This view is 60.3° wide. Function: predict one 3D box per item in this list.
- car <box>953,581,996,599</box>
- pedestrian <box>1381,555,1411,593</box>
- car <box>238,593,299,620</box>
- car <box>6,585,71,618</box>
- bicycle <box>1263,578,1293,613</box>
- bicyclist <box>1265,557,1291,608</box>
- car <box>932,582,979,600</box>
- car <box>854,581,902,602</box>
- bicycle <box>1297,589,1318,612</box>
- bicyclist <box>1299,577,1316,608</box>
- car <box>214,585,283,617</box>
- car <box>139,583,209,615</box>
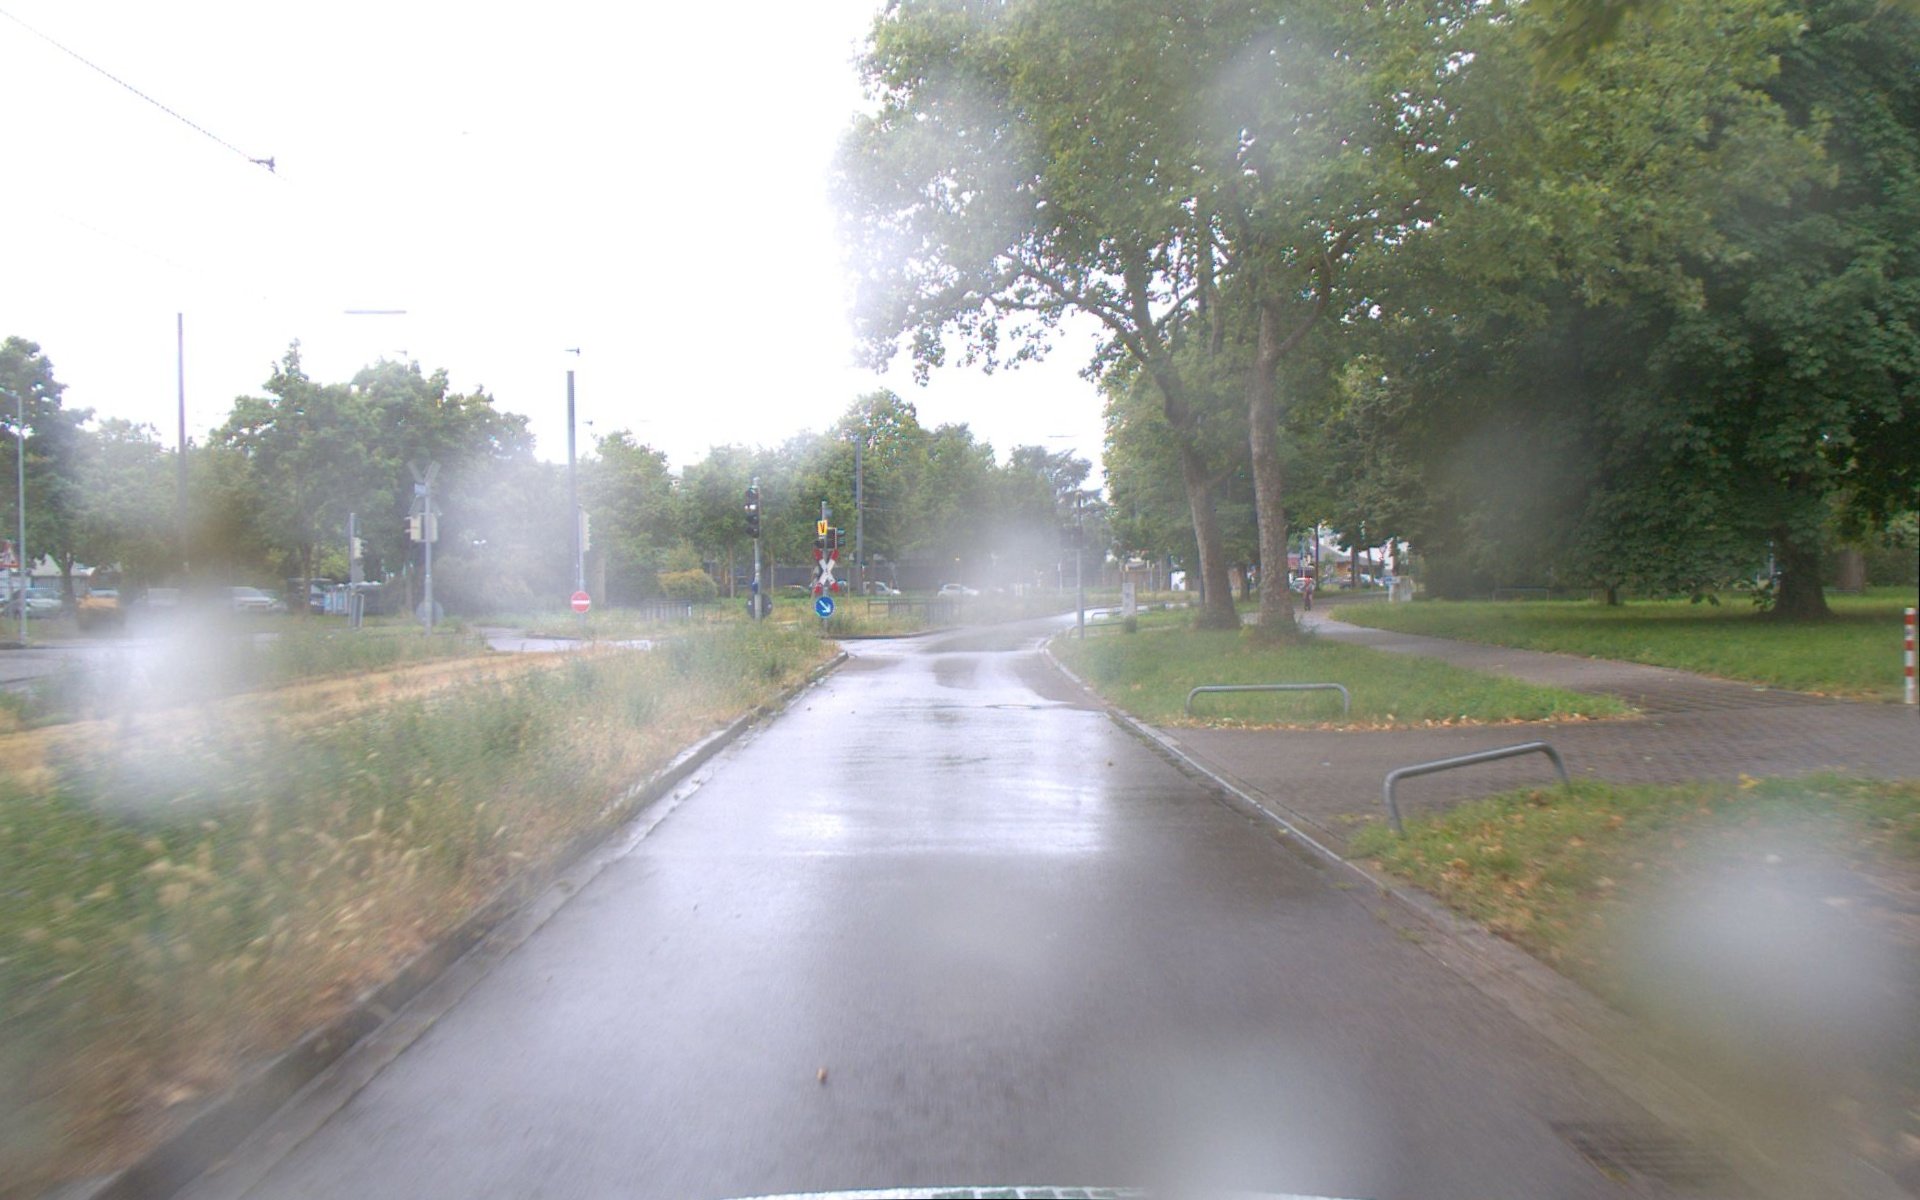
[{"bbox_3d":[1.357,-0.936,153.978,3.737,1.525,1.653,-1,0,16],"label":"car"},{"bbox_3d":[19.946,-1.190,75.699,0.841,1.724,1.027,-1,0,-25],"label":"pedestrian"},{"bbox_3d":[-34.625,0.323,82.775,1.652,1.271,3.684,-2,1,-42],"label":"car"},{"bbox_3d":[-36.915,0.075,66.226,1.650,1.271,3.689,-2,1,-39],"label":"car"},{"bbox_3d":[11.161,-0.163,58.040,0.697,1.162,1.972,-1,2,21],"label":"bicycle"},{"bbox_3d":[11.152,-0.632,58.029,0.697,1.751,0.957,-1,1,21],"label":"bicyclist"},{"bbox_3d":[-0.376,-0.798,150.703,3.979,1.525,1.653,-1,0,16],"label":"car"},{"bbox_3d":[-7.614,-0.825,153.098,4.121,1.827,1.653,-1,2,18],"label":"car"},{"bbox_3d":[12.102,0.017,57.582,0.477,0.721,1.458,-1,2,21],"label":"bicycle"},{"bbox_3d":[12.084,-0.270,57.548,0.477,1.056,0.591,-1,2,21],"label":"bicyclist"},{"bbox_3d":[-30.573,0.050,71.030,1.652,1.271,3.684,-2,1,-42],"label":"car"},{"bbox_3d":[-32.612,-0.021,68.581,1.652,1.271,3.684,-2,1,-42],"label":"car"}]
